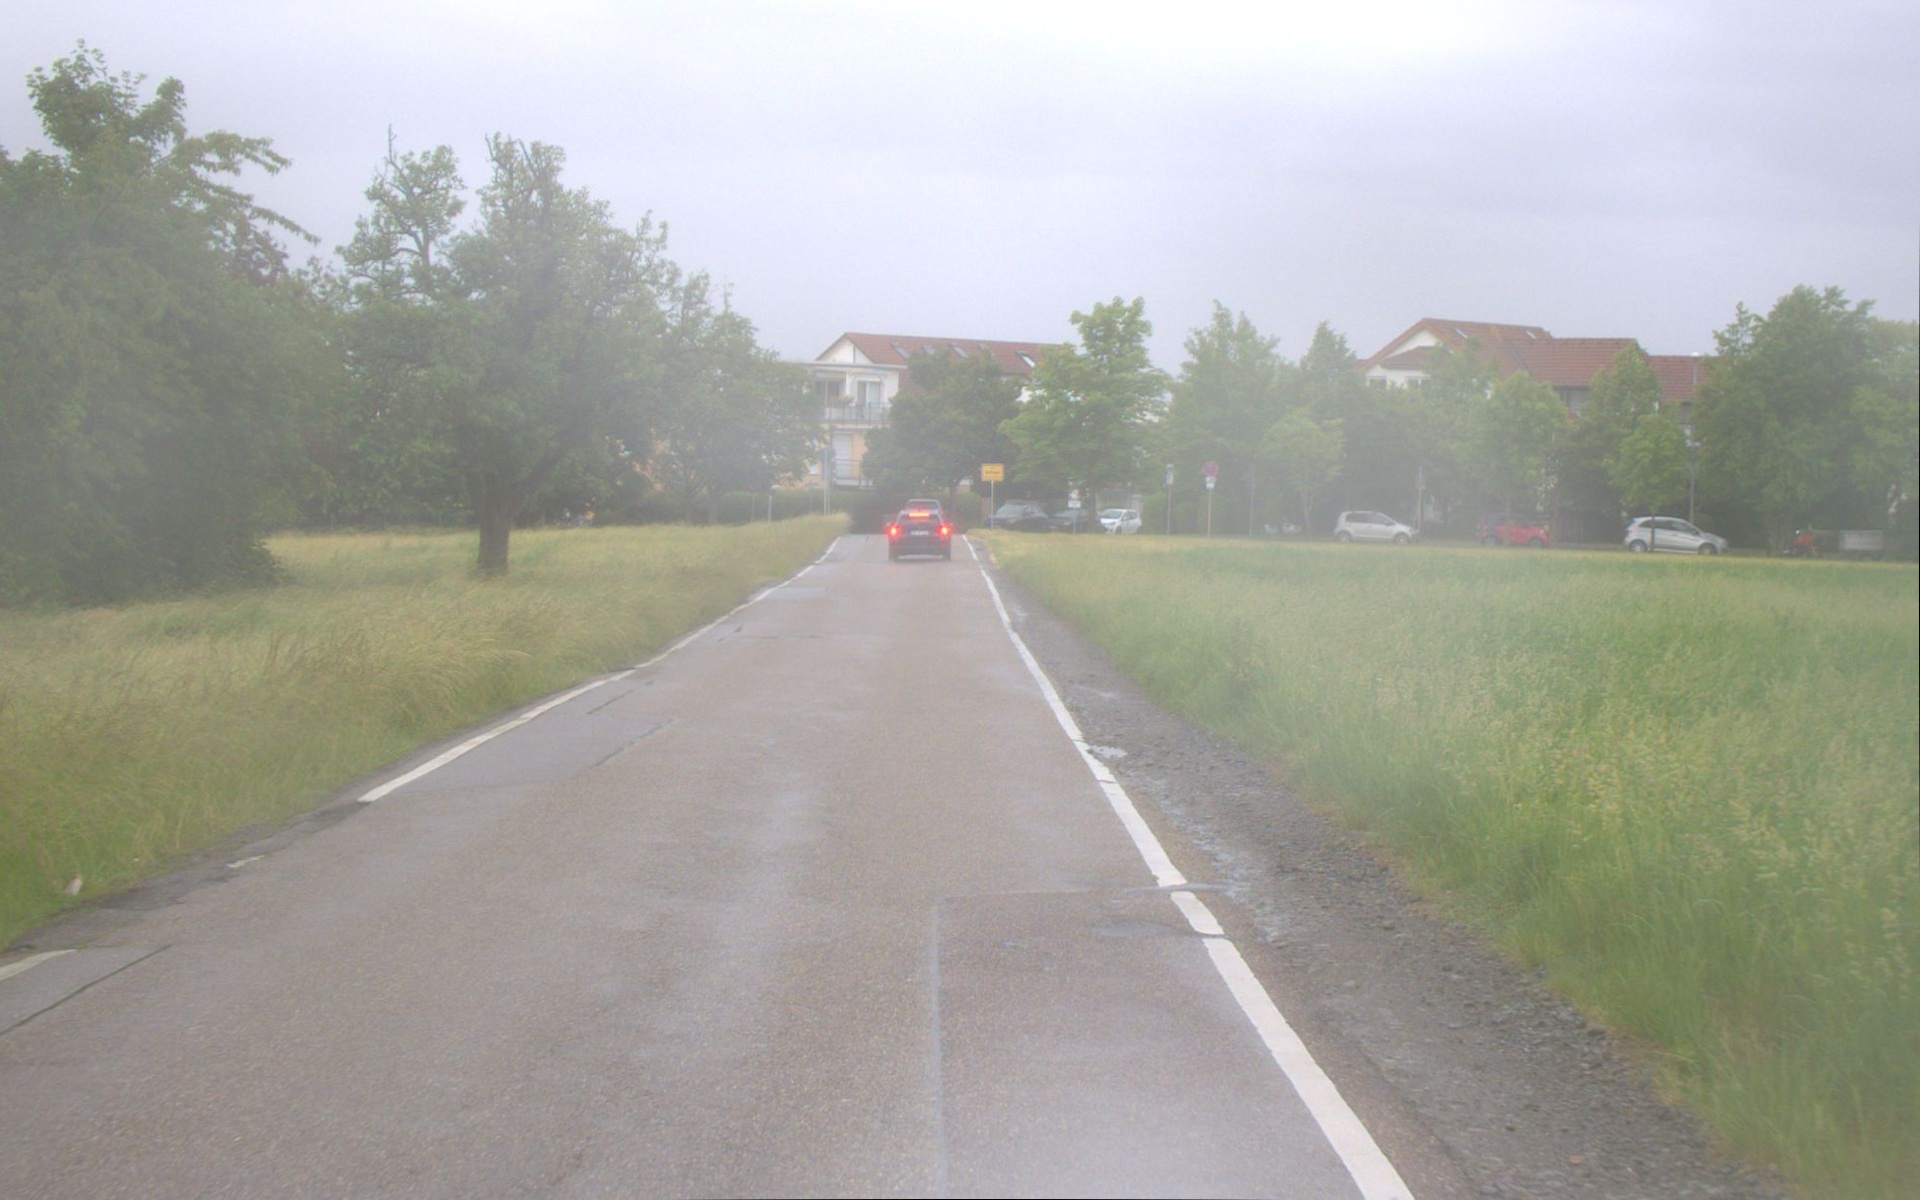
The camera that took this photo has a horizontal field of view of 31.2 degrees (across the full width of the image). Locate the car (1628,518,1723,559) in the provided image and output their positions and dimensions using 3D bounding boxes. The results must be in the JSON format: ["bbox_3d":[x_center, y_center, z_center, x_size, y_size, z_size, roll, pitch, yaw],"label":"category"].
[{"bbox_3d":[29.035,-2.498,139.505,3.711,1.558,1.609,1,0,13],"label":"car"}]

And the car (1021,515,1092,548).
[{"bbox_3d":[4.956,-3.511,176.356,1.664,1.541,3.992,1,0,35],"label":"car"}]

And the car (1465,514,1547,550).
[{"bbox_3d":[22.457,-2.799,141.293,3.194,1.366,1.571,1,0,13],"label":"car"}]

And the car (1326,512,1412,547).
[{"bbox_3d":[16.976,-2.924,142.594,3.392,1.366,1.547,1,0,13],"label":"car"}]

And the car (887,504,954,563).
[{"bbox_3d":[-1.107,-1.884,98.103,1.815,1.588,4.000,1,0,1],"label":"car"}]

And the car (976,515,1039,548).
[{"bbox_3d":[2.368,-3.423,171.751,1.663,1.541,3.995,1,0,24],"label":"car"}]
